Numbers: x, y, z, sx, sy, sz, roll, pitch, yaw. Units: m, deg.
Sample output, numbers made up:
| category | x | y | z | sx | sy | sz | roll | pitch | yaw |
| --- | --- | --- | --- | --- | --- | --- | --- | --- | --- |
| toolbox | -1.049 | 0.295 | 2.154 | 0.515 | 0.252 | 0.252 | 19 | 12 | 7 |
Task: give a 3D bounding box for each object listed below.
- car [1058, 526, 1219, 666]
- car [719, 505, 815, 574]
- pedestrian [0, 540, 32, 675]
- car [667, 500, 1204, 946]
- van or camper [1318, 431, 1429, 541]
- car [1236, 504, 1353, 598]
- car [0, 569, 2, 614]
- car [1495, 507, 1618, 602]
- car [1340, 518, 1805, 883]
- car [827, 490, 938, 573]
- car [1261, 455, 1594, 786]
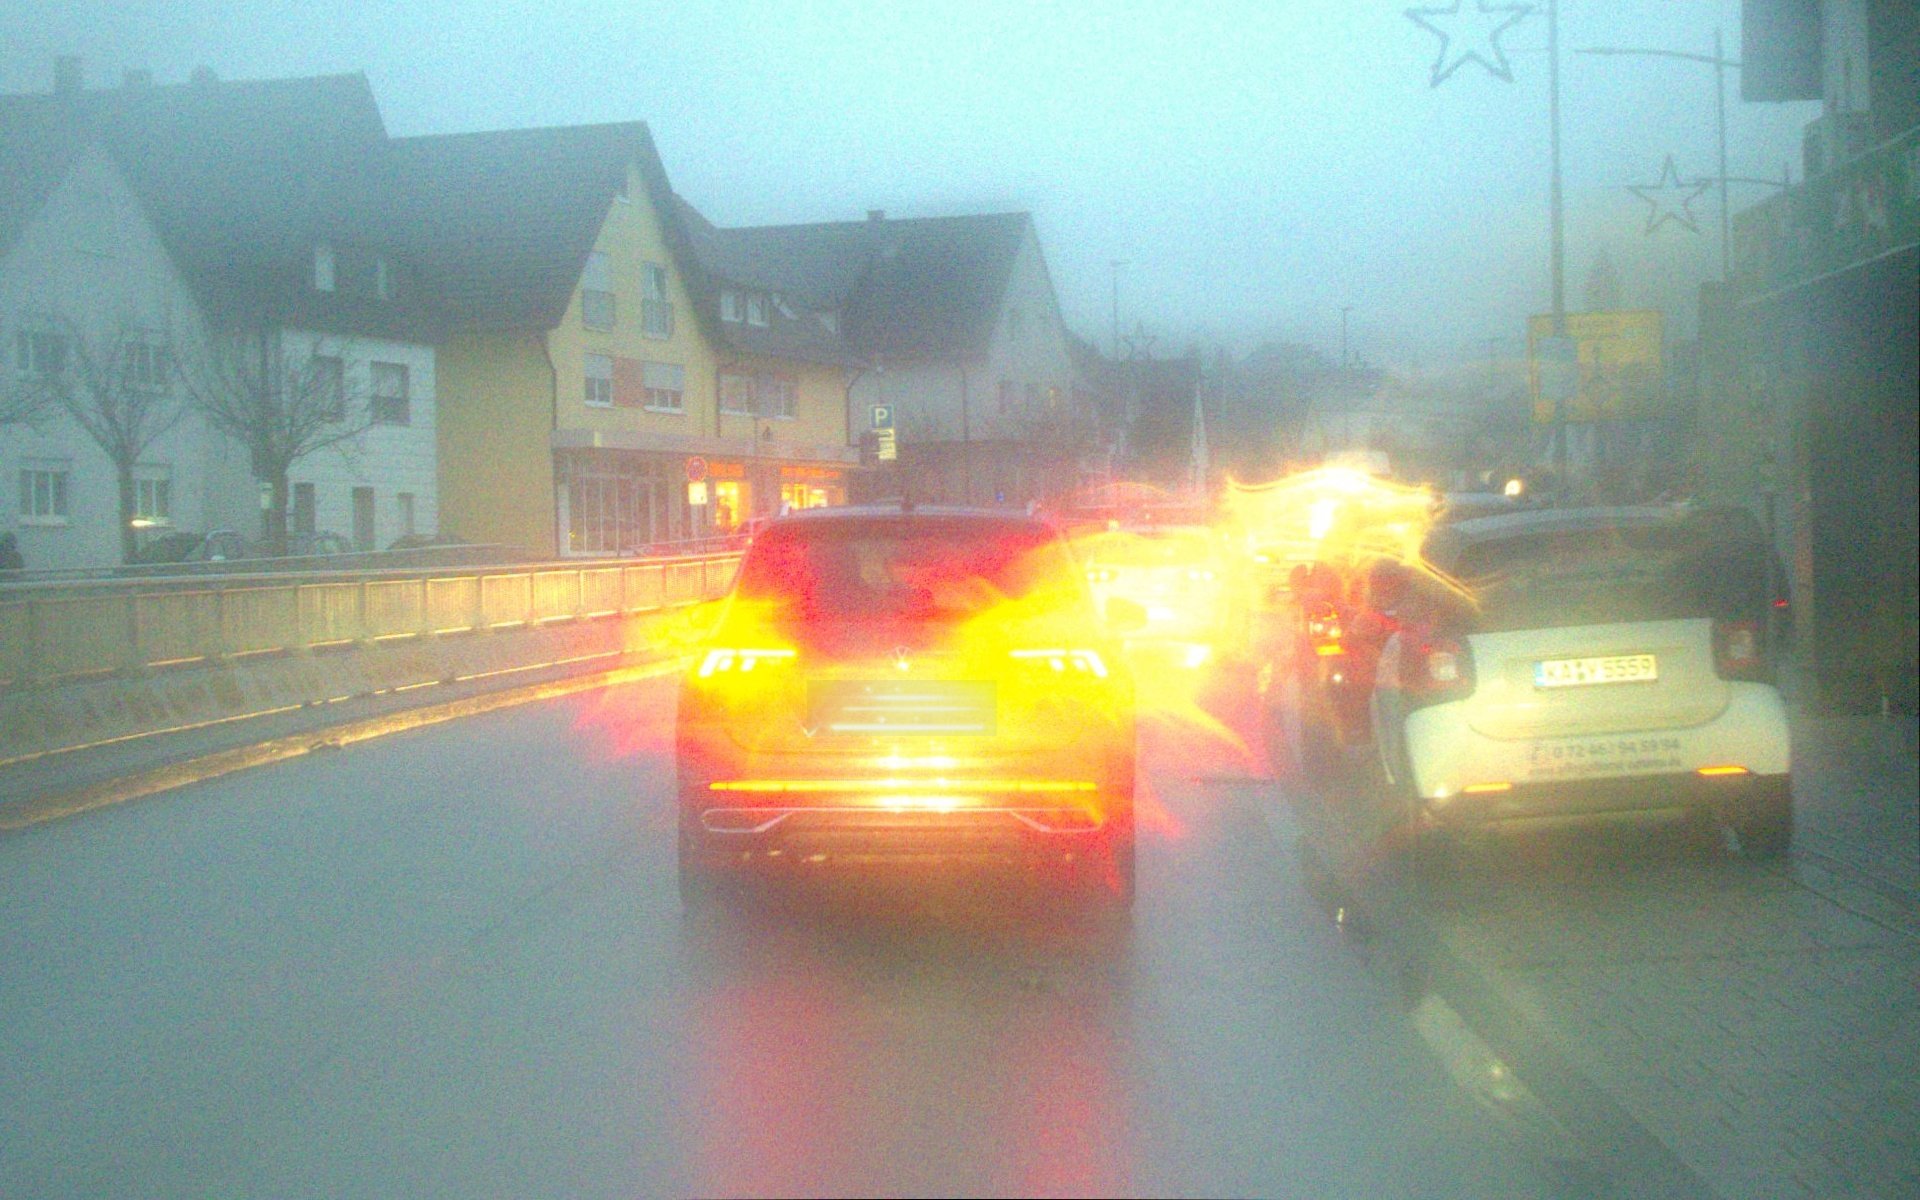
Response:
| category | x | y | z | sx | sy | sz | roll | pitch | yaw |
| --- | --- | --- | --- | --- | --- | --- | --- | --- | --- |
| car | 2.040 | -0.082 | 38.574 | 1.682 | 1.448 | 4.000 | 1 | 1 | 4 |
| car | -4.782 | -1.507 | 84.757 | 1.821 | 1.607 | 4.058 | -2 | 2 | -11 |
| pedestrian | -12.180 | 0.086 | 43.478 | 0.664 | 1.692 | 0.541 | 0 | 2 | 12 |
| car | -0.267 | 0.389 | 14.851 | 1.964 | 1.589 | 4.314 | 0 | 2 | -5 |
| van or camper | 10.606 | -2.912 | 87.745 | 2.241 | 2.660 | 6.552 | -1 | 2 | 11 |
| car | 5.417 | -0.819 | 55.742 | 1.814 | 1.407 | 4.000 | 0 | 2 | 6 |
| car | -19.523 | -0.482 | 61.746 | 3.988 | 1.688 | 1.864 | -2 | 2 | 8 |
| car | 13.979 | -1.089 | 80.407 | 2.159 | 1.984 | 4.496 | -4 | 1 | 17 |
| car | 2.709 | 0.391 | 15.732 | 1.645 | 1.410 | 2.727 | -3 | 2 | 2 |
| car | -1.936 | -1.685 | 84.107 | 2.037 | 1.919 | 4.058 | -2 | 2 | -11 |
| car | 2.871 | 0.065 | 21.537 | 1.770 | 1.776 | 3.999 | -4 | 1 | 6 |
